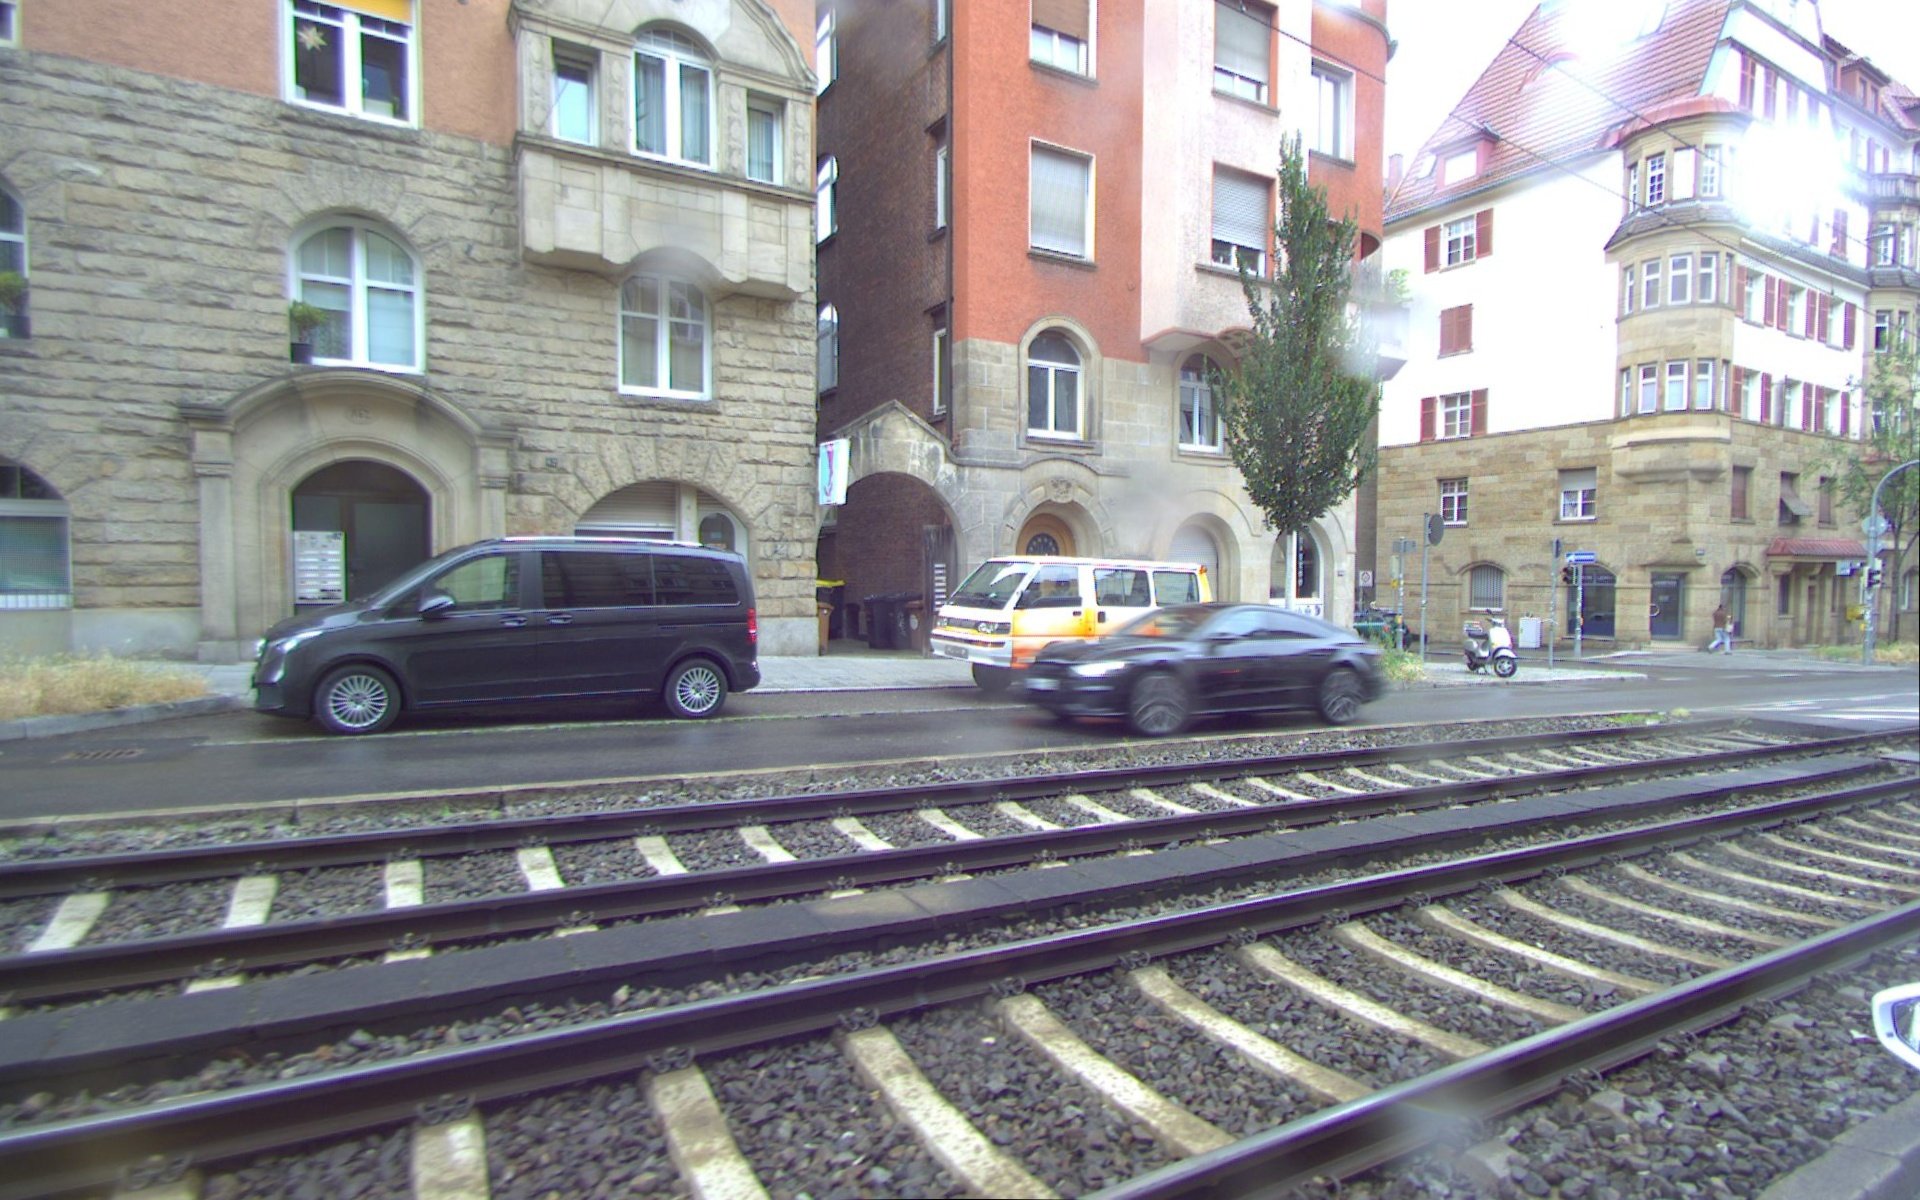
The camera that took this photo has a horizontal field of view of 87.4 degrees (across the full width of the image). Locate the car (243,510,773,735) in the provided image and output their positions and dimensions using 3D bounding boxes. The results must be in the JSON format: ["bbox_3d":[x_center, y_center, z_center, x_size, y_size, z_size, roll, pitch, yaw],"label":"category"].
[{"bbox_3d":[-4.653,0.258,10.827,4.769,1.968,1.984,2,0,-30],"label":"car"}]

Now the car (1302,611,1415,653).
[{"bbox_3d":[14.859,1.176,37.576,1.683,1.423,3.618,2,0,-34],"label":"car"}]

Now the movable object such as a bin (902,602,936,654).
[{"bbox_3d":[-0.775,0.526,18.864,0.442,0.957,0.557,1,-1,-27],"label":"movable object such as a bin"}]

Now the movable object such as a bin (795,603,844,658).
[{"bbox_3d":[-2.493,0.533,17.823,0.627,0.918,0.793,1,1,-27],"label":"movable object such as a bin"}]

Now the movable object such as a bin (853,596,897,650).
[{"bbox_3d":[-1.685,0.456,19.918,0.607,1.052,0.793,1,-1,-27],"label":"movable object such as a bin"}]

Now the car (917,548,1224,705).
[{"bbox_3d":[1.674,0.386,14.672,4.295,2.001,1.721,2,0,-32],"label":"car"}]

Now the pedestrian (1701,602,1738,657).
[{"bbox_3d":[24.260,0.935,32.085,0.690,1.695,0.631,2,0,-12],"label":"pedestrian"}]

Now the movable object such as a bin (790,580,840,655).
[{"bbox_3d":[-2.708,0.312,18.696,0.648,1.360,0.903,1,1,-27],"label":"movable object such as a bin"}]

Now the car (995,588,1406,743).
[{"bbox_3d":[2.977,0.697,12.074,4.905,1.544,1.794,1,0,-30],"label":"car"}]

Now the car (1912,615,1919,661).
[{"bbox_3d":[34.566,1.355,34.586,3.994,1.573,1.741,2,0,-34],"label":"car"}]

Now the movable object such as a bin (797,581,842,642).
[{"bbox_3d":[-3.212,0.250,22.890,0.676,1.324,1.154,1,1,-26],"label":"movable object such as a bin"}]

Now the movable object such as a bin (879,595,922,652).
[{"bbox_3d":[-1.148,0.451,19.372,0.607,1.090,0.679,1,-1,-27],"label":"movable object such as a bin"}]

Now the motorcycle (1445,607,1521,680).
[{"bbox_3d":[10.504,0.845,20.233,0.612,1.384,1.596,2,0,-3],"label":"motorcycle"}]
